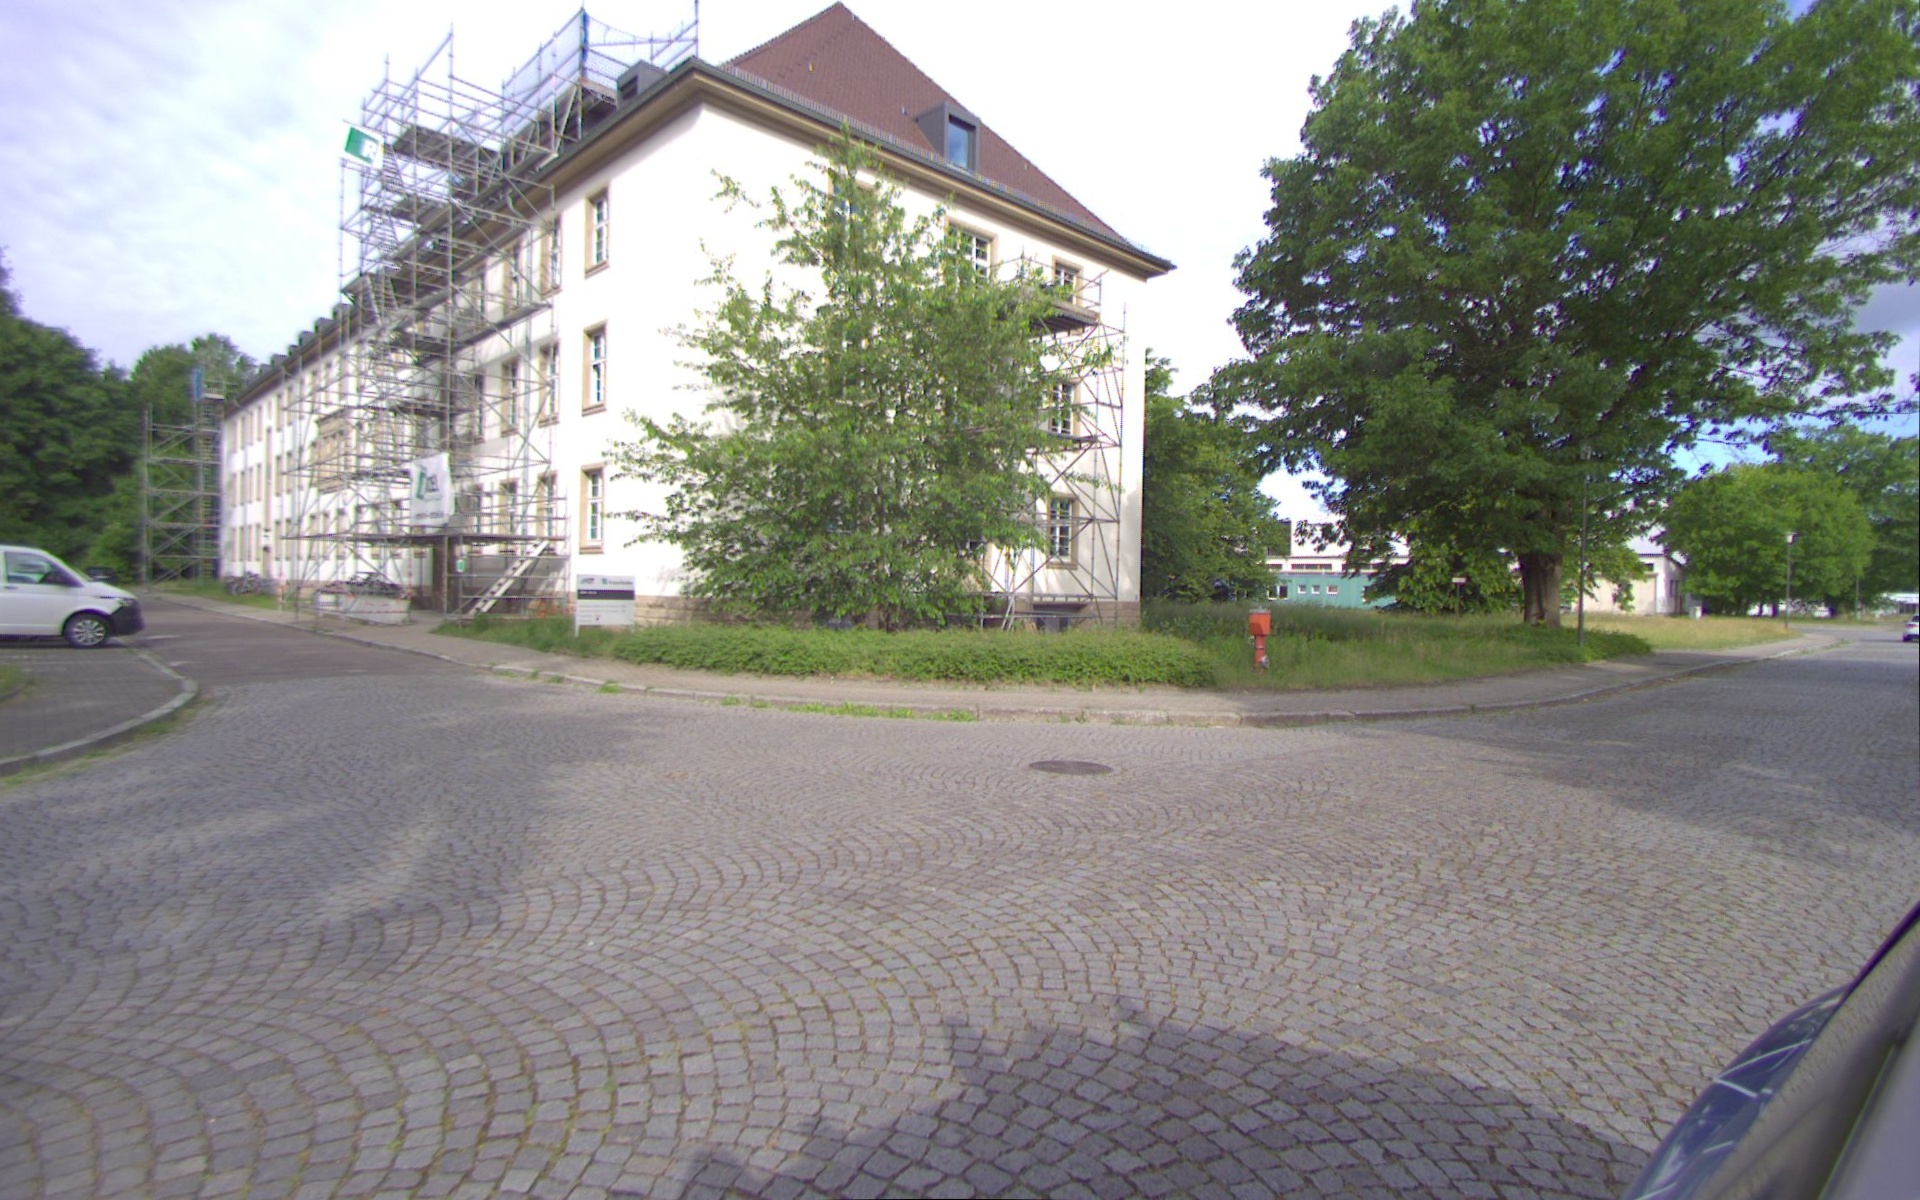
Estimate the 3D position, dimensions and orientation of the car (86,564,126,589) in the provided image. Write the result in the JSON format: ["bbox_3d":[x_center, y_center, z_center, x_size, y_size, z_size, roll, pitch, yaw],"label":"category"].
[{"bbox_3d":[-60.192,-1.627,71.333,2.033,1.614,3.994,4,-2,-41],"label":"car"}]

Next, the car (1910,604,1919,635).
[{"bbox_3d":[47.224,0.925,48.868,4.629,1.455,1.850,0,0,-45],"label":"car"}]

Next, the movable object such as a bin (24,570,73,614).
[{"bbox_3d":[-31.237,-0.271,34.695,1.167,1.425,0.973,4,-3,-43],"label":"movable object such as a bin"}]

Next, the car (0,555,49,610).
[{"bbox_3d":[-37.921,-0.753,39.006,1.914,2.040,3.938,1,-3,42],"label":"car"}]

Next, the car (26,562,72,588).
[{"bbox_3d":[-62.124,-1.692,68.967,3.945,1.568,1.976,1,-2,44],"label":"car"}]

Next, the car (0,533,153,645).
[{"bbox_3d":[-18.831,-0.230,19.317,5.132,2.086,2.182,2,-1,-45],"label":"car"}]

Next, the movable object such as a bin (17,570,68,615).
[{"bbox_3d":[-30.497,-0.253,33.657,1.167,1.425,0.973,4,-3,-43],"label":"movable object such as a bin"}]
